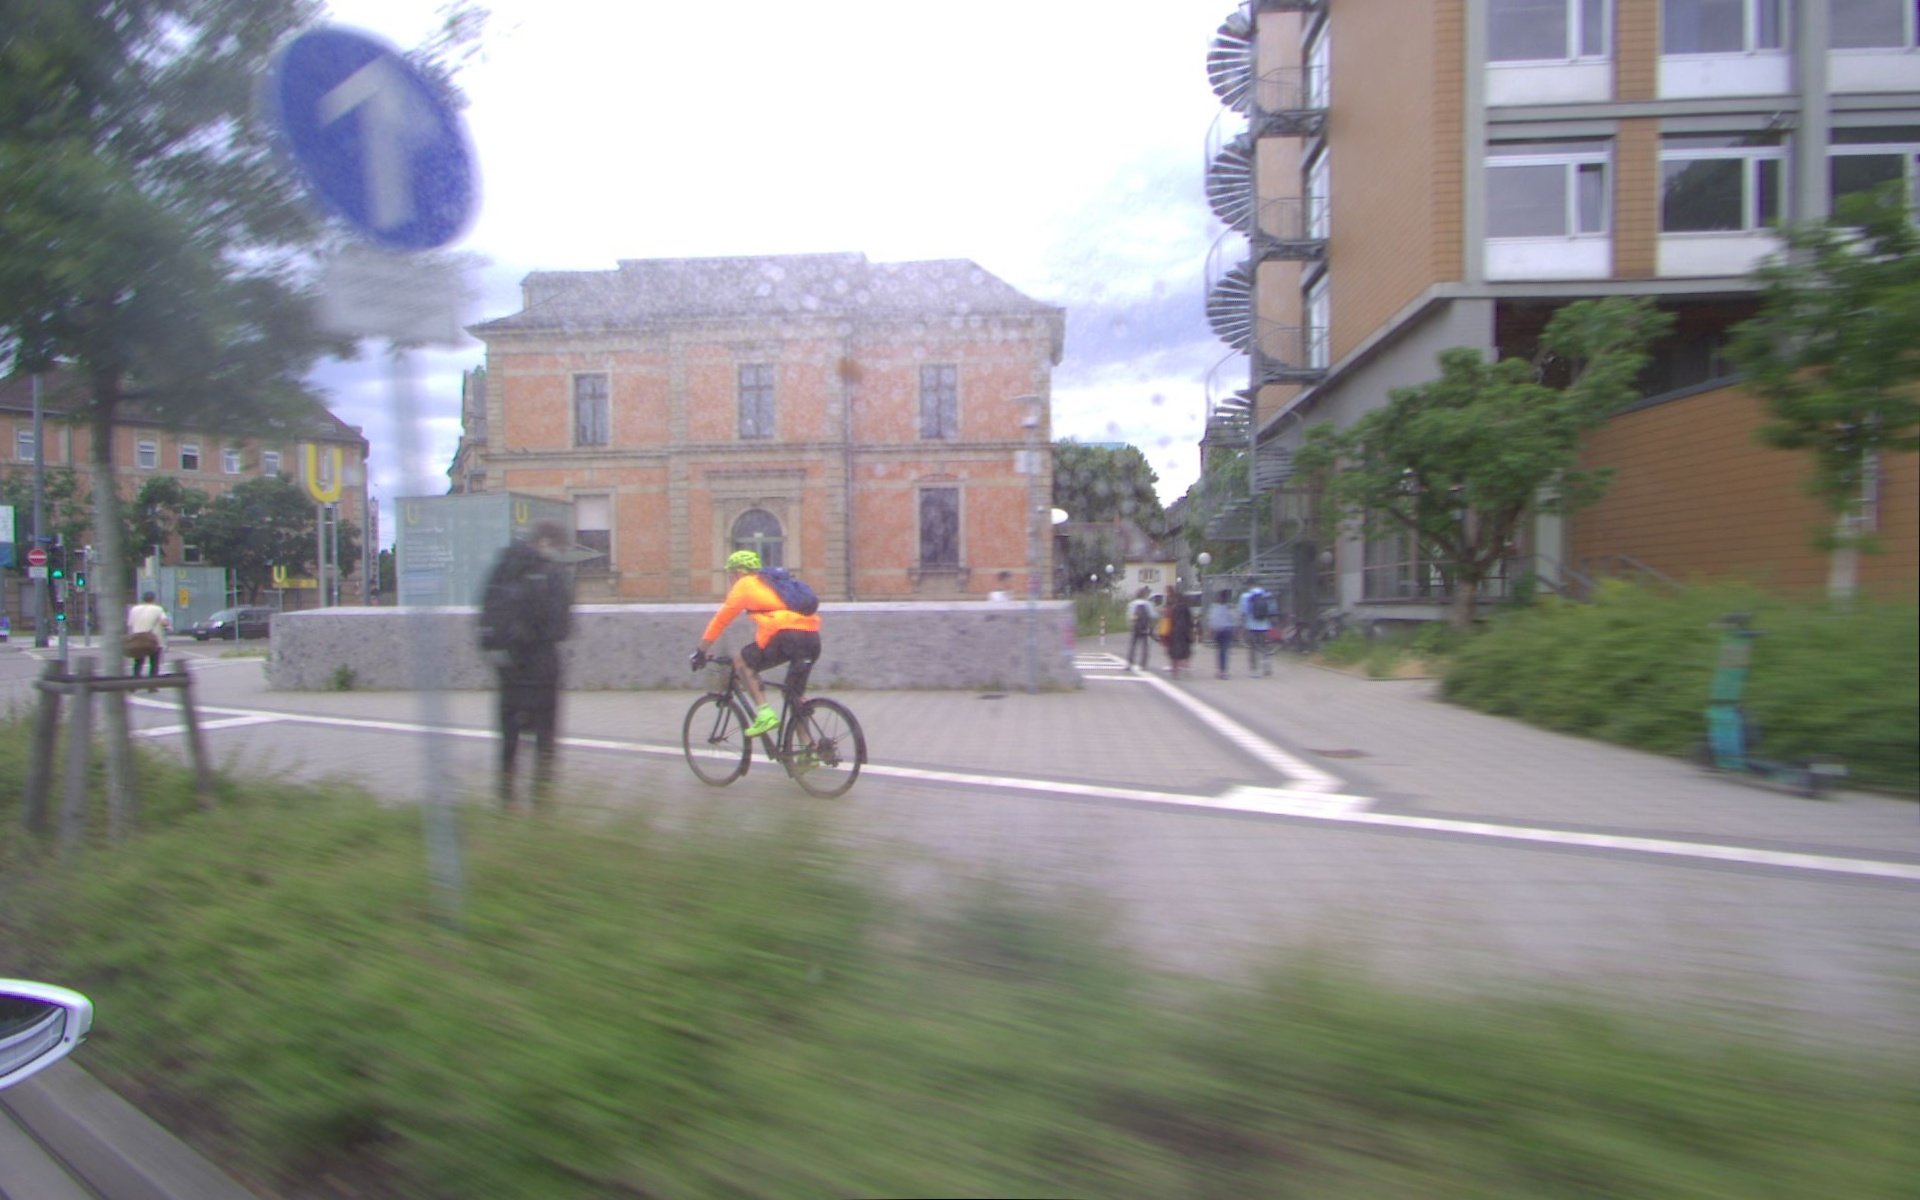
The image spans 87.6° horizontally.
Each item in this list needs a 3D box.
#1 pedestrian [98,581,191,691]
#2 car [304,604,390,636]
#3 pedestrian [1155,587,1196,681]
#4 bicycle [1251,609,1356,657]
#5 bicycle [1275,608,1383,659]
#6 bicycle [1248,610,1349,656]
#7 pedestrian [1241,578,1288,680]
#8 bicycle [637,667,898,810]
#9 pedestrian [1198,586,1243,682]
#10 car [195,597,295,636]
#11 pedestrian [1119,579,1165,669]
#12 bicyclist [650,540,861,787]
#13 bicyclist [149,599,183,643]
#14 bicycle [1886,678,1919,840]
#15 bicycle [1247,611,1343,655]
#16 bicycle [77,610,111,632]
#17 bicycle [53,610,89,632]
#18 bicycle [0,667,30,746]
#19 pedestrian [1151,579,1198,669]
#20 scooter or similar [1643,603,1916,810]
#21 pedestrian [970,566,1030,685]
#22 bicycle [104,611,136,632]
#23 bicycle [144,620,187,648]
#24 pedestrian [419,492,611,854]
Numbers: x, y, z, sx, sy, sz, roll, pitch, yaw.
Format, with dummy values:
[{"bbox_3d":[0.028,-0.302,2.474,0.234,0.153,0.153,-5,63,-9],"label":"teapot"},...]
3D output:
[{"bbox_3d":[-14.619,0.623,17.996,0.872,1.892,1.283,0,0,-18],"label":"pedestrian"},{"bbox_3d":[-39.051,1.237,63.960,1.833,1.941,5.099,0,-1,9],"label":"car"},{"bbox_3d":[3.877,0.597,18.068,0.710,1.653,0.873,0,0,11],"label":"pedestrian"},{"bbox_3d":[8.284,0.801,24.167,2.335,1.137,0.833,1,-1,-13],"label":"bicycle"},{"bbox_3d":[8.519,0.772,23.125,2.336,1.137,0.832,1,-1,-17],"label":"bicycle"},{"bbox_3d":[8.567,0.839,25.350,2.335,1.137,0.833,1,-1,-13],"label":"bicycle"},{"bbox_3d":[5.364,0.502,17.669,0.710,1.760,0.873,0,0,11],"label":"pedestrian"},{"bbox_3d":[-1.455,0.967,7.375,2.043,0.859,0.555,0,0,31],"label":"bicycle"},{"bbox_3d":[4.635,0.596,17.849,0.710,1.653,0.873,0,0,11],"label":"pedestrian"},{"bbox_3d":[-37.212,0.869,52.254,1.662,1.925,4.386,0,-1,9],"label":"car"},{"bbox_3d":[3.589,0.467,19.819,0.710,1.753,0.874,0,0,-4],"label":"pedestrian"},{"bbox_3d":[-1.499,0.433,7.353,1.302,1.642,0.826,0,0,31],"label":"bicyclist"},{"bbox_3d":[-29.520,0.755,37.250,0.681,1.582,0.923,-2,2,-21],"label":"bicyclist"},{"bbox_3d":[6.080,0.887,5.031,0.552,0.859,2.056,0,0,-40],"label":"bicycle"},{"bbox_3d":[8.920,0.880,26.659,2.335,1.137,0.833,1,-1,-13],"label":"bicycle"},{"bbox_3d":[-57.087,1.391,66.050,0.946,1.371,3.108,1,-2,-27],"label":"bicycle"},{"bbox_3d":[-58.046,1.365,65.413,0.946,1.371,3.108,1,-2,-27],"label":"bicycle"},{"bbox_3d":[-11.504,1.240,10.928,0.756,0.851,1.817,0,1,30],"label":"bicycle"},{"bbox_3d":[4.308,0.472,20.177,0.710,1.766,0.874,0,0,-4],"label":"pedestrian"},{"bbox_3d":[5.748,0.700,7.161,0.681,1.306,1.605,0,-1,3],"label":"scooter or similar"},{"bbox_3d":[0.649,0.401,15.956,0.823,1.829,0.703,0,0,15],"label":"pedestrian"},{"bbox_3d":[-56.017,1.421,66.784,0.946,1.371,3.108,1,-2,-27],"label":"bicycle"},{"bbox_3d":[-29.521,1.246,37.237,0.661,0.946,1.854,-3,2,-20],"label":"bicycle"},{"bbox_3d":[-2.555,0.400,5.839,0.710,1.953,0.874,0,0,1],"label":"pedestrian"}]
